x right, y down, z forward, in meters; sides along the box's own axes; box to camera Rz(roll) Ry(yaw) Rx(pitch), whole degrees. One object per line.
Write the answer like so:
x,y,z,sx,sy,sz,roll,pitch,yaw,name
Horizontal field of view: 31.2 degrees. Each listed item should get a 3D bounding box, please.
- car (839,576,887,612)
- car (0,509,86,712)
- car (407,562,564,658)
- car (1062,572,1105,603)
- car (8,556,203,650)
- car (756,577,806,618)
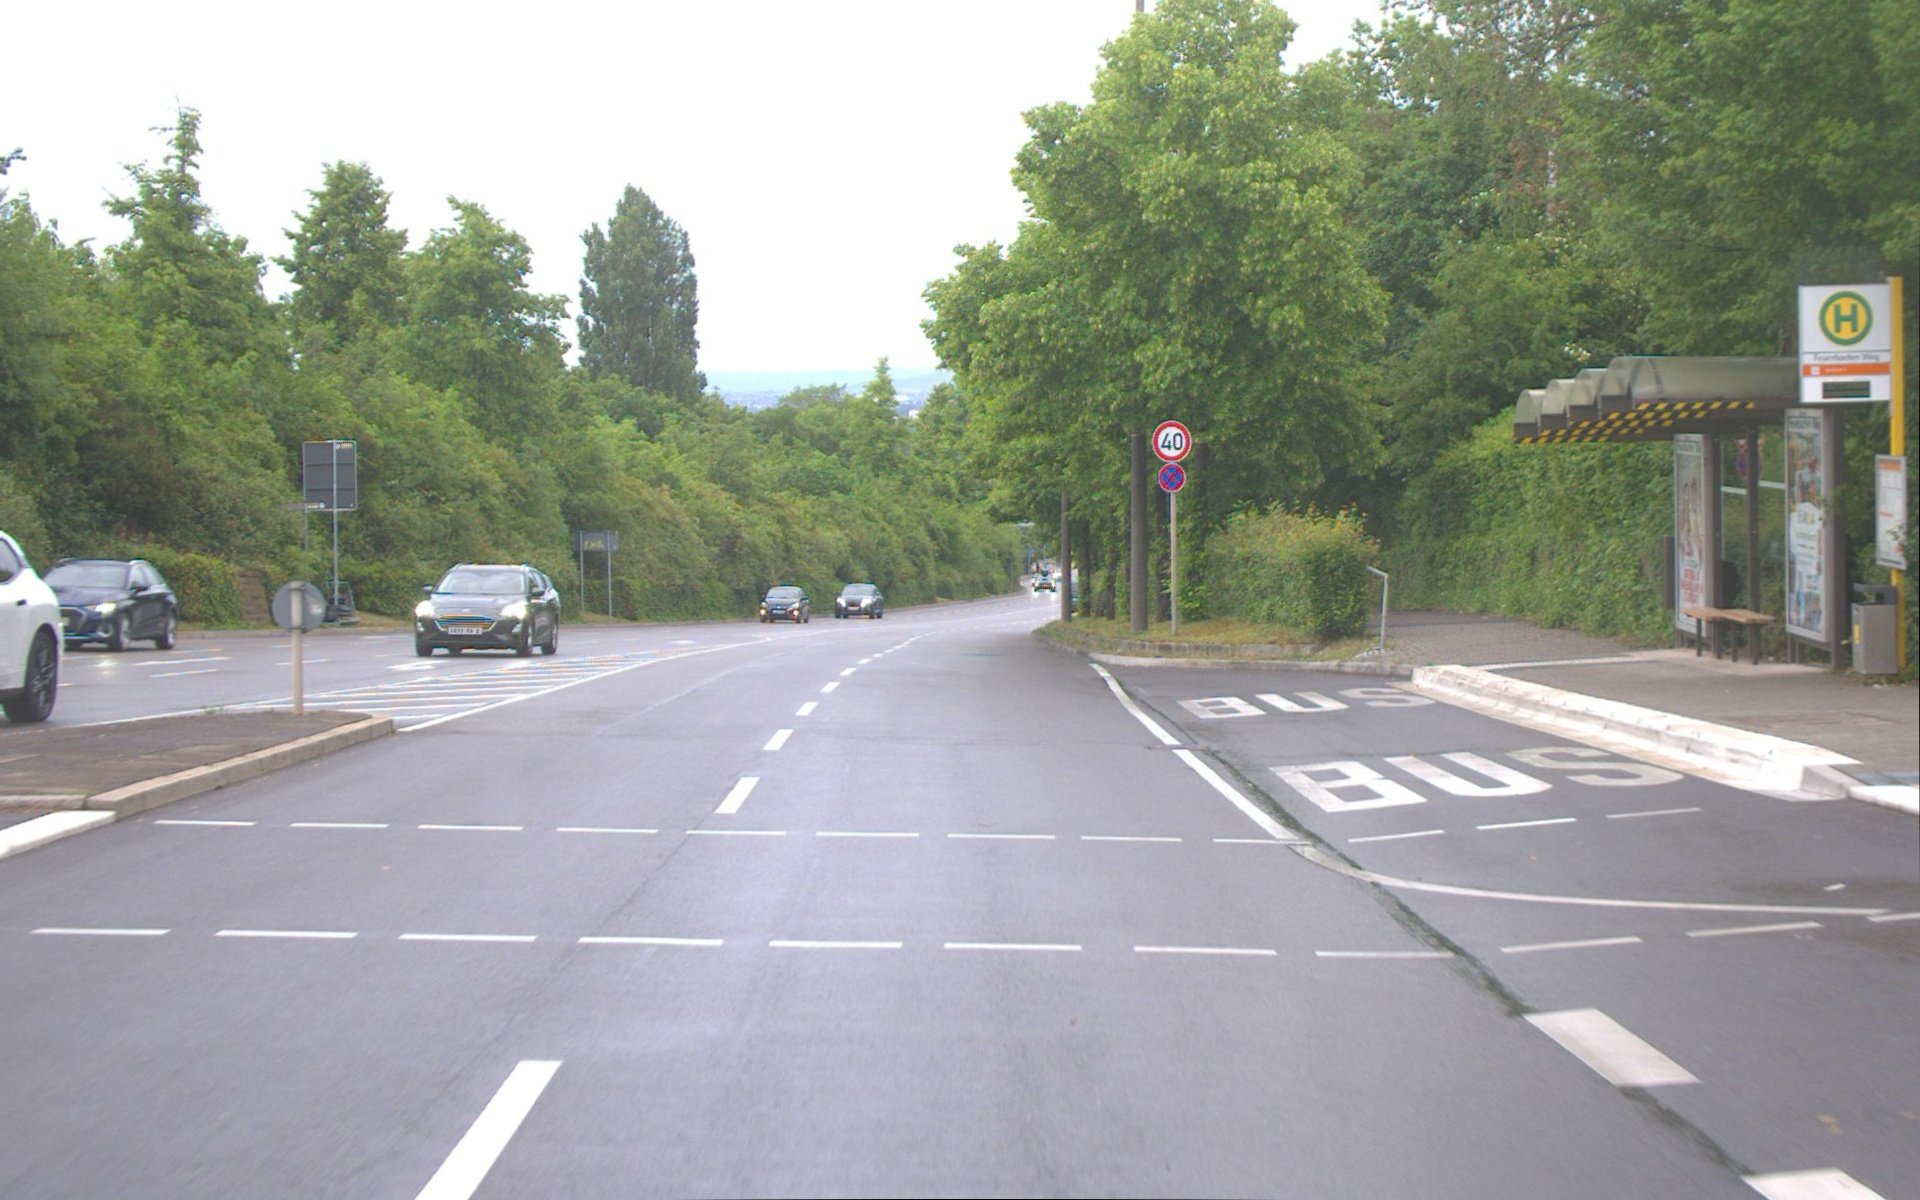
-4.545,-0.293,161.854,1.864,1.584,3.892,2,0,3,car
-8.693,0.092,27.326,1.945,1.630,5.005,0,1,3,car
-7.558,0.128,55.130,1.778,1.467,4.645,0,1,1,car
6.580,-0.677,182.849,1.945,1.585,3.927,0,2,6,car
-13.483,0.015,54.504,1.820,1.433,4.454,0,1,3,car
-7.275,-0.111,139.825,1.725,1.560,3.893,2,0,1,car
